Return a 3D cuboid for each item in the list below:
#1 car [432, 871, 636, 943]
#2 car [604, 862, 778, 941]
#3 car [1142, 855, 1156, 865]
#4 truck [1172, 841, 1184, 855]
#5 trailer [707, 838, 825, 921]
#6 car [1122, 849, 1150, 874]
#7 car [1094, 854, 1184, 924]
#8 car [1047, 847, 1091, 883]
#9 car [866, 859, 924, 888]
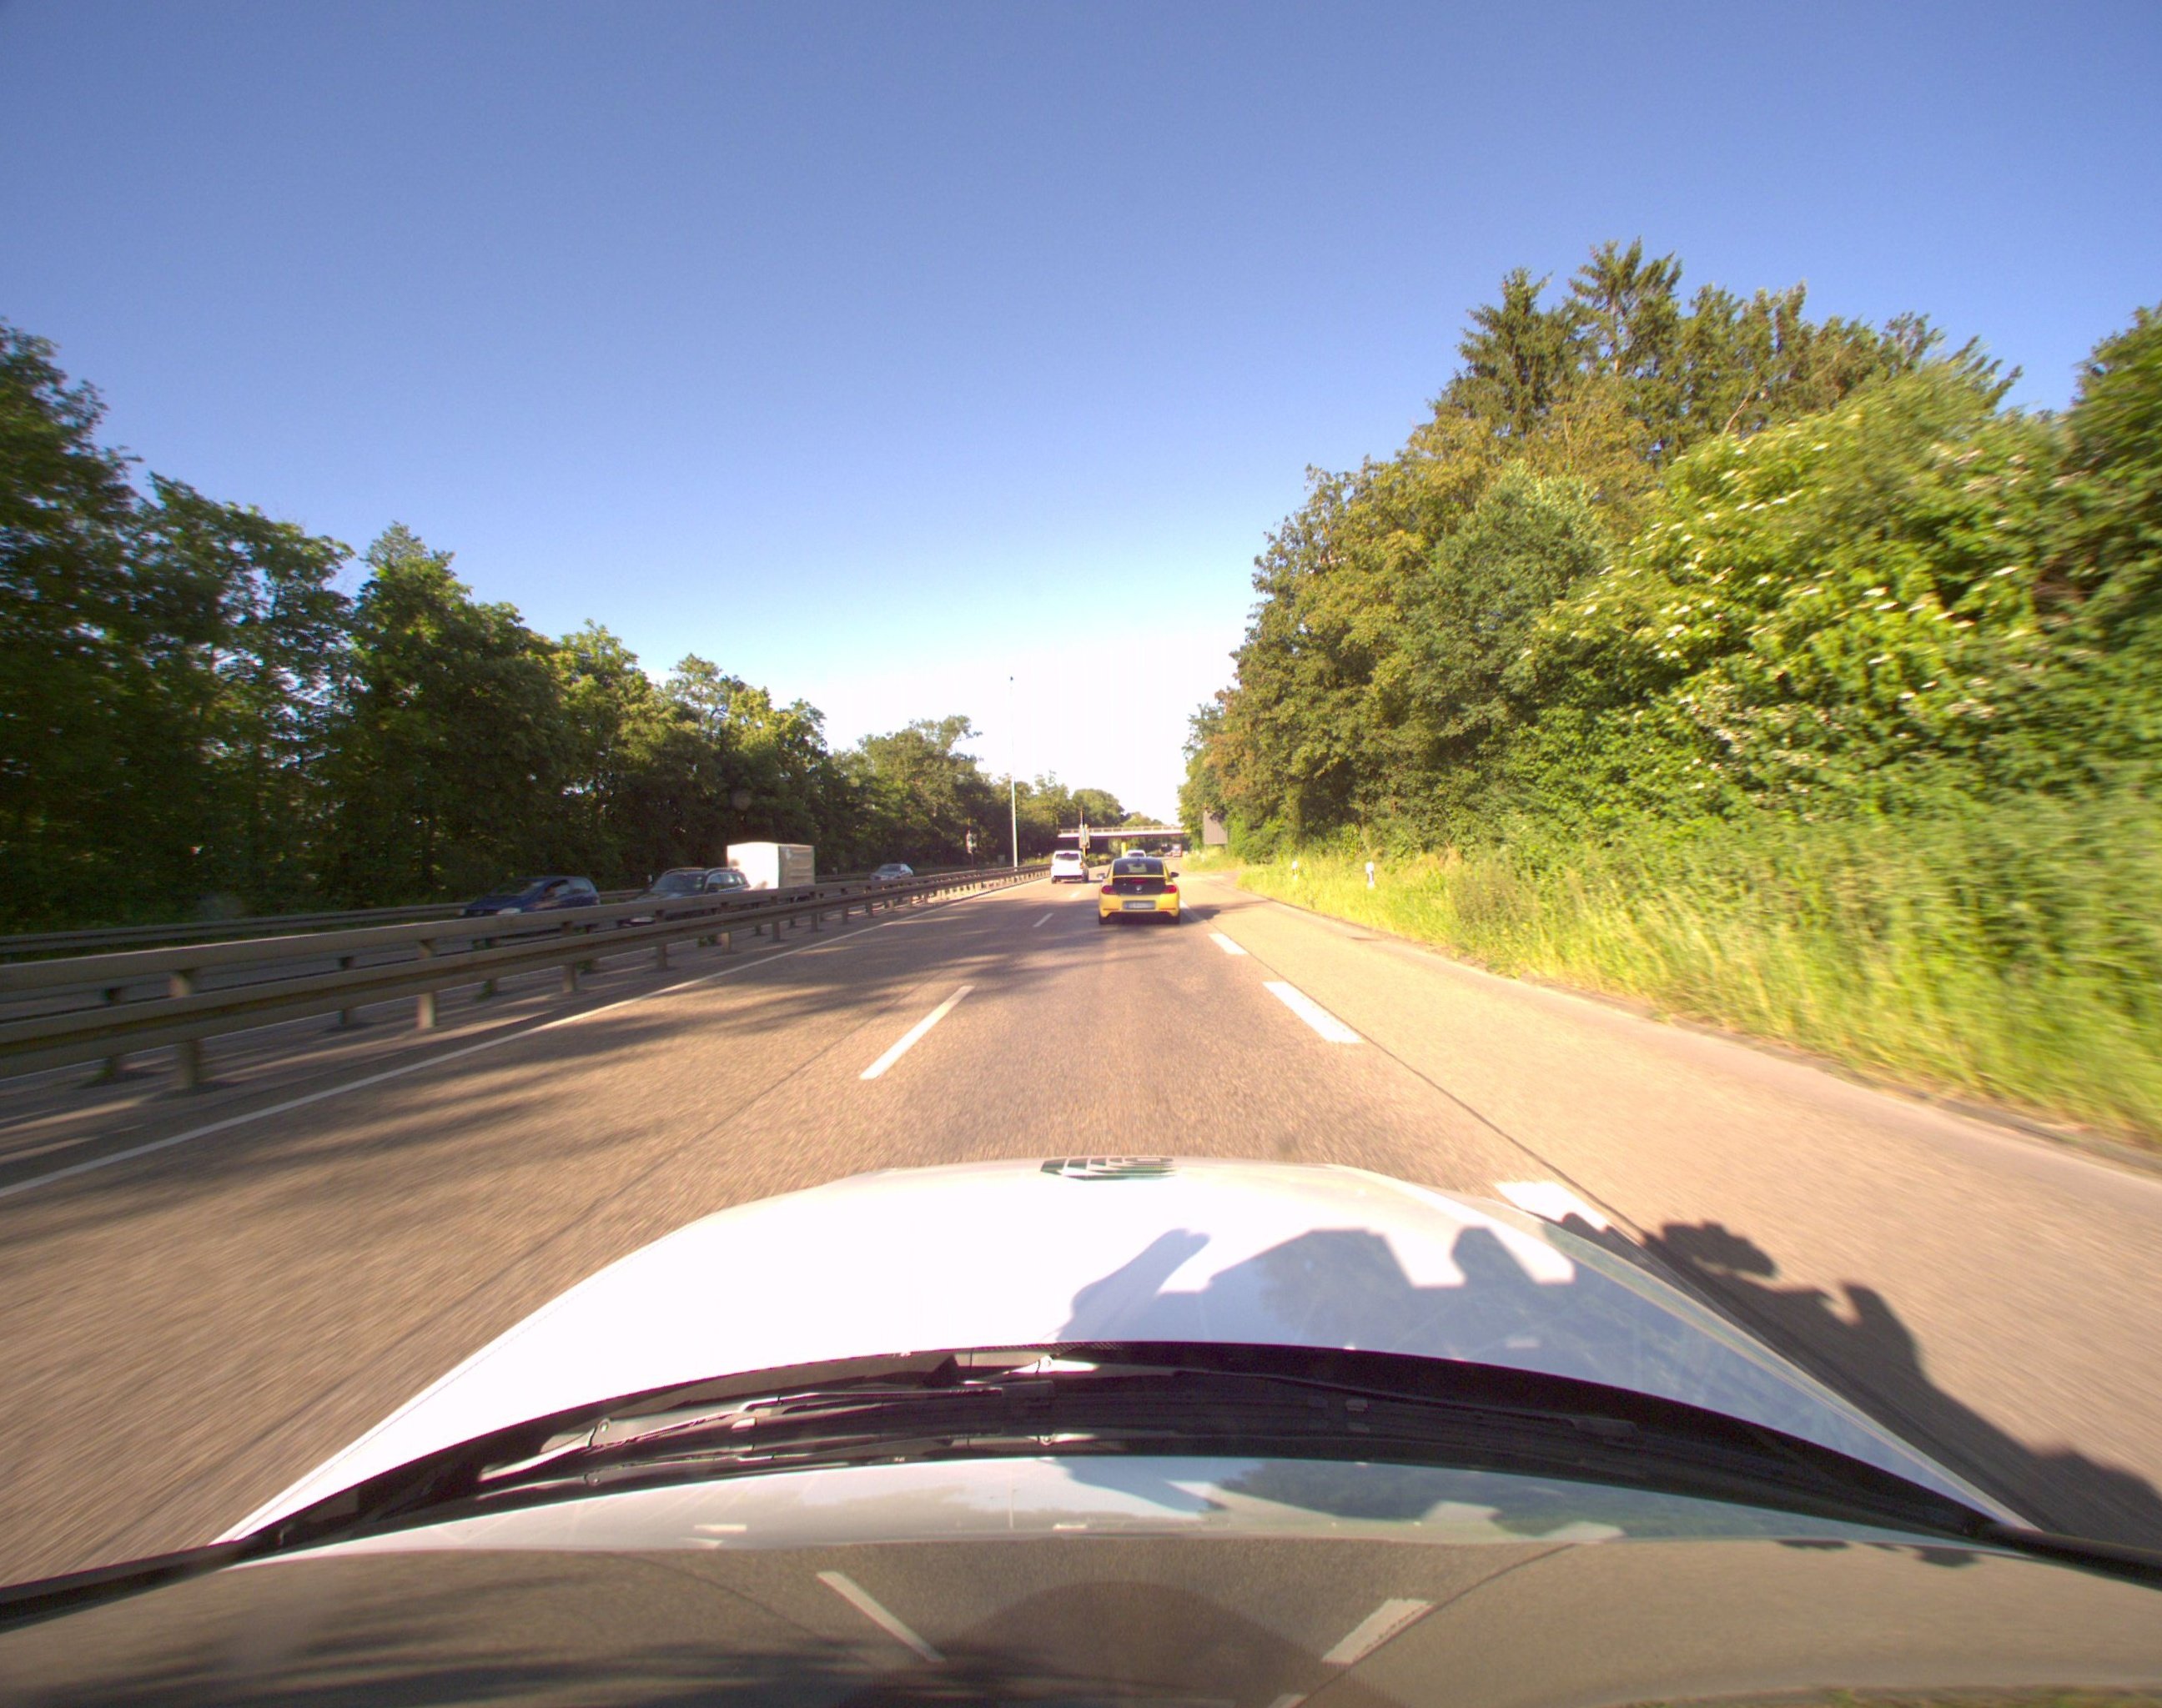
[{"bbox_3d":[-14.764,1.349,22.447,2.064,1.614,5.060,-1,0,1],"label":"car"},{"bbox_3d":[-10.178,1.156,21.830,2.064,1.748,5.224,-2,0,0],"label":"car"},{"bbox_3d":[10.612,0.887,126.698,1.982,1.398,4.010,-1,0,9],"label":"car"},{"bbox_3d":[30.357,-1.732,254.835,3.475,4.173,8.883,-2,-1,9],"label":"truck"},{"bbox_3d":[-10.198,0.770,26.785,1.987,2.437,4.606,-2,0,0],"label":"trailer"},{"bbox_3d":[4.020,0.539,59.954,1.856,1.770,4.472,-2,0,2],"label":"car"},{"bbox_3d":[1.353,0.745,19.243,1.871,1.461,4.360,0,0,3],"label":"car"},{"bbox_3d":[-0.629,0.574,44.883,2.076,1.828,4.003,-2,0,3],"label":"car"},{"bbox_3d":[-12.090,1.238,53.421,2.110,1.725,5.881,-1,0,3],"label":"car"}]
